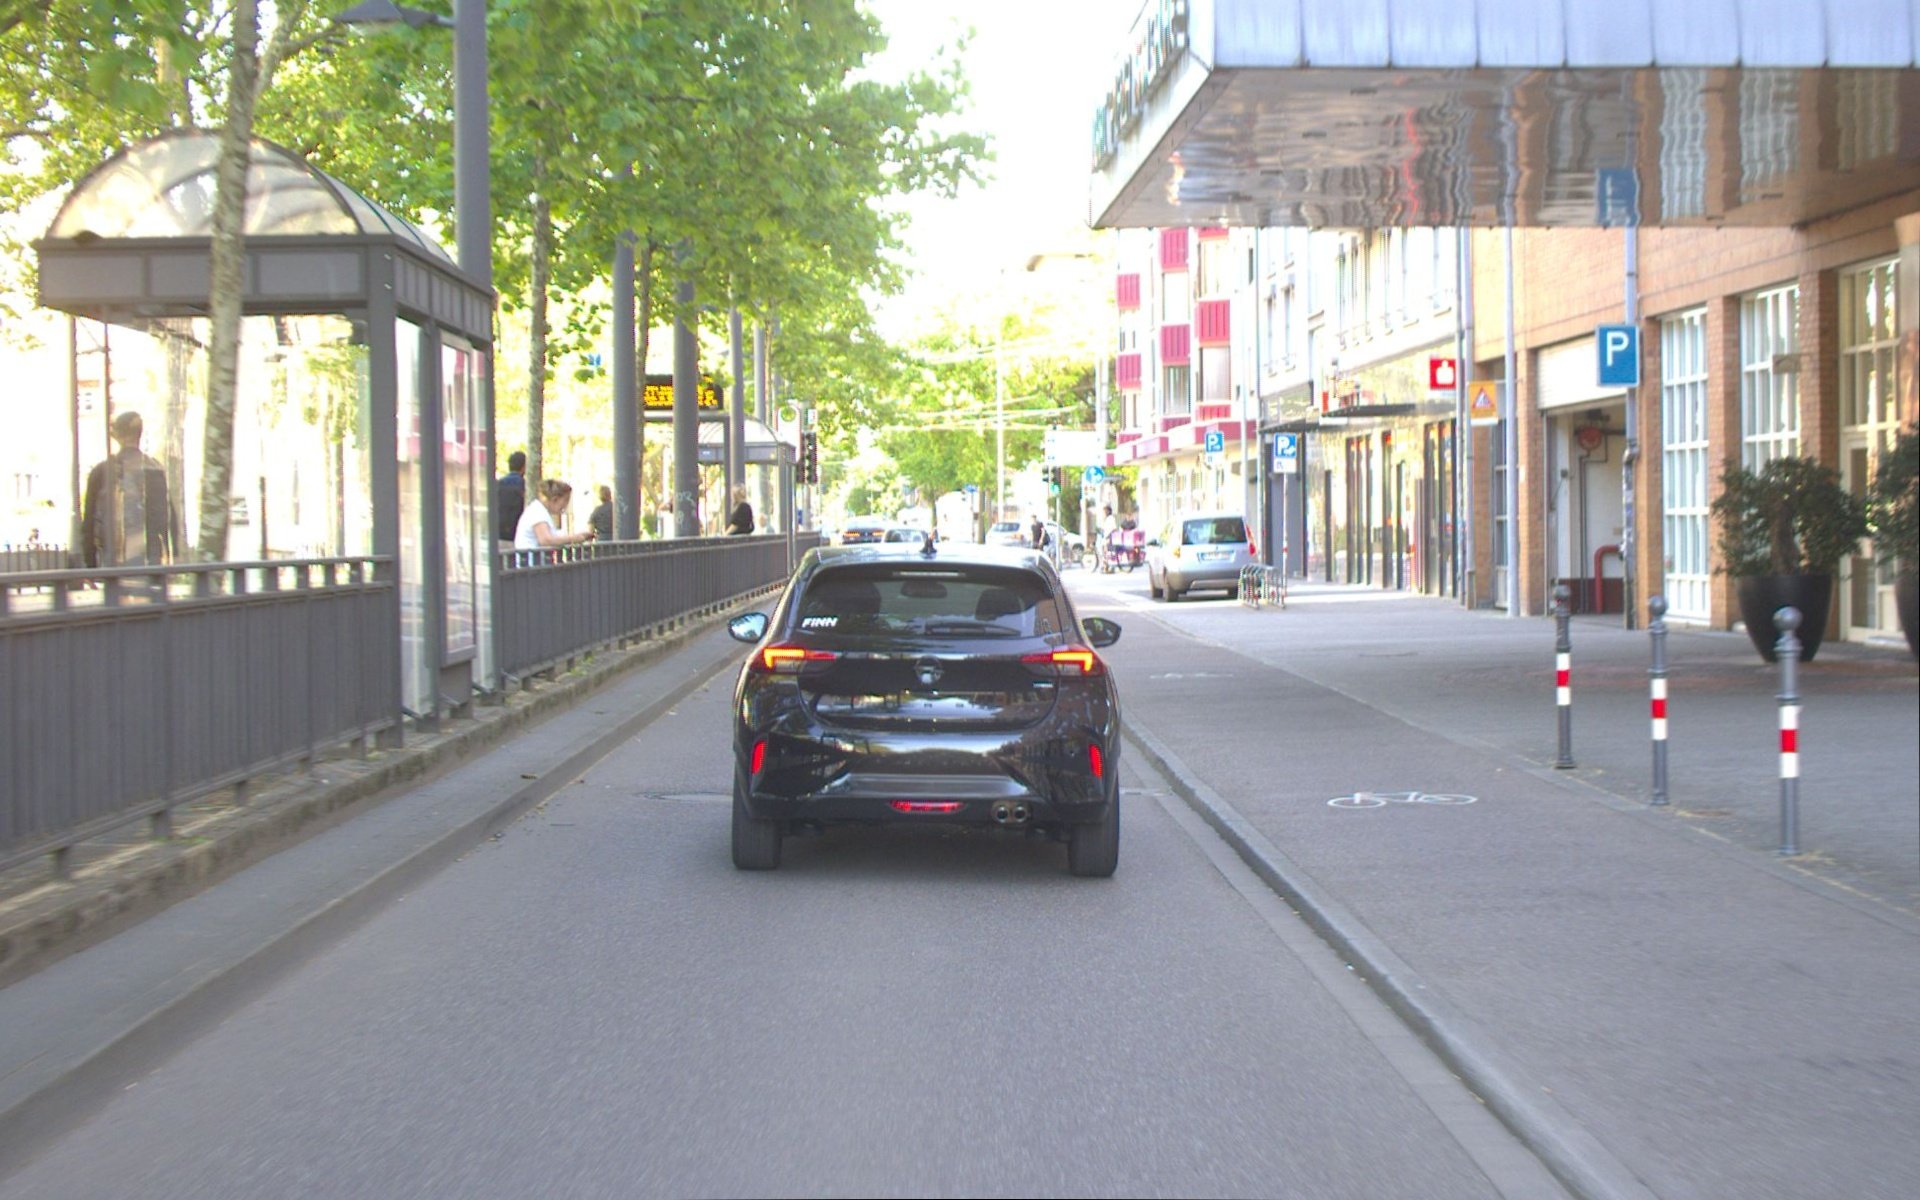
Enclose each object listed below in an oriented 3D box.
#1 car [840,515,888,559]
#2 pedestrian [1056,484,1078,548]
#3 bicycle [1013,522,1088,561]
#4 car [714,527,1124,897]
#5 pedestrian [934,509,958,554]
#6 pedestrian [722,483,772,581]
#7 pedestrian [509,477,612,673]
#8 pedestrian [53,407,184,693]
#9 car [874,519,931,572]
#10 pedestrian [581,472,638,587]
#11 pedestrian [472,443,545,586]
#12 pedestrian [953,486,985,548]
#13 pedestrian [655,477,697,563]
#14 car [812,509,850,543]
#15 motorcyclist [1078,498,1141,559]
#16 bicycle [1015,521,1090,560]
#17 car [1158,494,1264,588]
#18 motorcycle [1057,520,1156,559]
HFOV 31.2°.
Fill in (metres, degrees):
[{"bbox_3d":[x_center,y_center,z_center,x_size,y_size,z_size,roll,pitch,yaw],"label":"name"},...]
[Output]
[{"bbox_3d":[-3.312,-2.193,118.537,1.613,1.496,3.691,0,1,-1],"label":"car"},{"bbox_3d":[4.806,-3.758,154.145,0.917,2.861,1.150,0,1,-2],"label":"pedestrian"},{"bbox_3d":[2.877,-1.855,109.467,2.355,1.229,0.684,0,1,2],"label":"bicycle"},{"bbox_3d":[-0.092,0.421,15.887,1.672,1.496,3.690,0,1,2],"label":"car"},{"bbox_3d":[-0.549,-2.748,137.649,0.917,1.769,1.151,0,1,-3],"label":"pedestrian"},{"bbox_3d":[-3.143,-1.003,50.680,0.722,1.440,0.627,0,1,-4],"label":"pedestrian"},{"bbox_3d":[-2.962,-0.193,25.532,0.722,1.440,0.627,0,1,-4],"label":"pedestrian"},{"bbox_3d":[-5.029,-0.298,20.572,0.604,1.674,0.486,-2,1,0],"label":"pedestrian"},{"bbox_3d":[-1.690,-1.613,100.425,1.613,1.496,3.691,0,1,-1],"label":"car"},{"bbox_3d":[-4.228,-0.846,41.500,0.604,1.360,0.486,-2,1,0],"label":"pedestrian"},{"bbox_3d":[-4.399,-0.833,33.536,0.604,1.360,0.486,-2,1,0],"label":"pedestrian"},{"bbox_3d":[0.444,-3.909,161.696,1.147,2.862,0.920,-1,1,-33],"label":"pedestrian"},{"bbox_3d":[-4.597,-1.289,55.643,0.604,1.360,0.486,-2,1,0],"label":"pedestrian"},{"bbox_3d":[-5.730,-3.287,152.642,1.613,1.496,3.691,0,1,-1],"label":"car"},{"bbox_3d":[4.178,-2.007,96.196,1.304,1.692,1.237,-1,2,-30],"label":"motorcyclist"},{"bbox_3d":[2.891,-1.867,107.759,2.355,1.229,0.684,0,1,2],"label":"bicycle"},{"bbox_3d":[4.526,-1.082,62.341,1.672,1.646,3.691,0,1,0],"label":"car"},{"bbox_3d":[4.094,-1.703,96.332,1.304,1.055,3.098,-1,2,-30],"label":"motorcycle"}]
